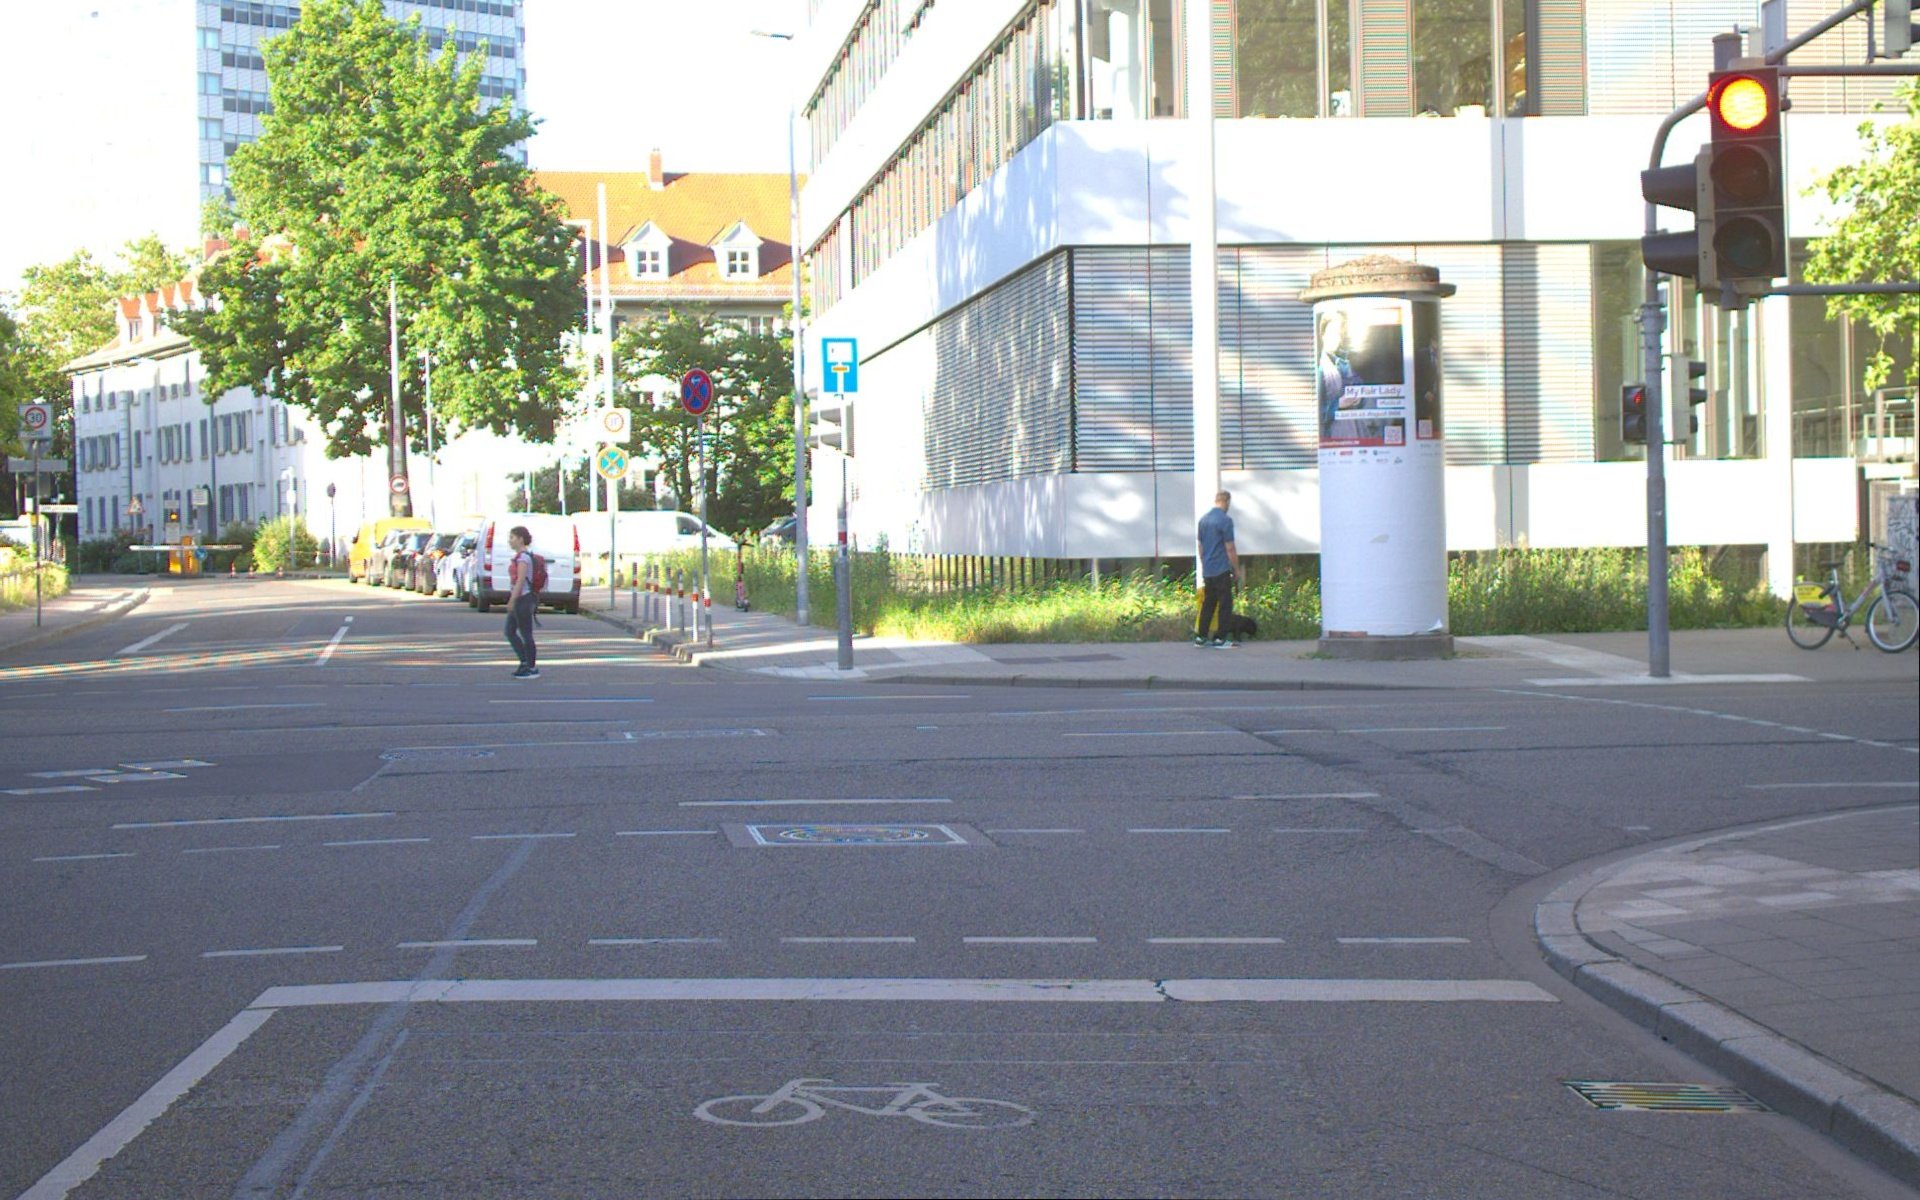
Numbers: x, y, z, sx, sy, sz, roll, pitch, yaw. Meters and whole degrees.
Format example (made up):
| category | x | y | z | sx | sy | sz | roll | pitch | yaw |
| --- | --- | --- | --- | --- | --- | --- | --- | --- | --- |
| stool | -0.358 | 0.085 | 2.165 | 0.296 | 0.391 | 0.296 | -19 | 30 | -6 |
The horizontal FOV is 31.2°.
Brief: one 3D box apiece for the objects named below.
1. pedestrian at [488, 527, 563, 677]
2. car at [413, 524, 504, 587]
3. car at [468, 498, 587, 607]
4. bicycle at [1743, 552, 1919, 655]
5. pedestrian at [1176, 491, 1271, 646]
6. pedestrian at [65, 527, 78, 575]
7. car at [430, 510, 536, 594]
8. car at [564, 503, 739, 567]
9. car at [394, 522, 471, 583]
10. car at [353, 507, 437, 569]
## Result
| category | x | y | z | sx | sy | sz | roll | pitch | yaw |
| --- | --- | --- | --- | --- | --- | --- | --- | --- | --- |
| pedestrian | -4.665 | 0.016 | 36.945 | 0.712 | 1.594 | 0.617 | -1 | 1 | -1 |
| car | -11.872 | -1.057 | 81.236 | 1.703 | 1.419 | 4.239 | -1 | 1 | -14 |
| car | -8.173 | -0.912 | 64.639 | 2.066 | 1.956 | 4.239 | -1 | 1 | -9 |
| bicycle | 9.175 | 0.024 | 36.116 | 0.463 | 1.045 | 1.914 | -2 | 2 | -42 |
| pedestrian | 2.982 | -0.361 | 38.880 | 0.811 | 1.730 | 0.653 | 0 | 2 | 45 |
| pedestrian | -28.730 | -1.593 | 111.156 | 0.380 | 1.529 | 0.446 | -1 | 1 | -12 |
| car | -10.615 | -1.077 | 76.293 | 1.946 | 1.789 | 4.239 | -1 | 1 | -13 |
| car | -9.236 | -1.916 | 102.850 | 4.880 | 1.865 | 2.001 | 0 | 0 | -17 |
| car | -13.193 | -1.209 | 85.835 | 1.703 | 1.459 | 4.239 | -1 | 1 | -11 |
| car | -15.746 | -1.731 | 95.651 | 2.100 | 1.652 | 4.477 | -1 | 1 | -11 |
